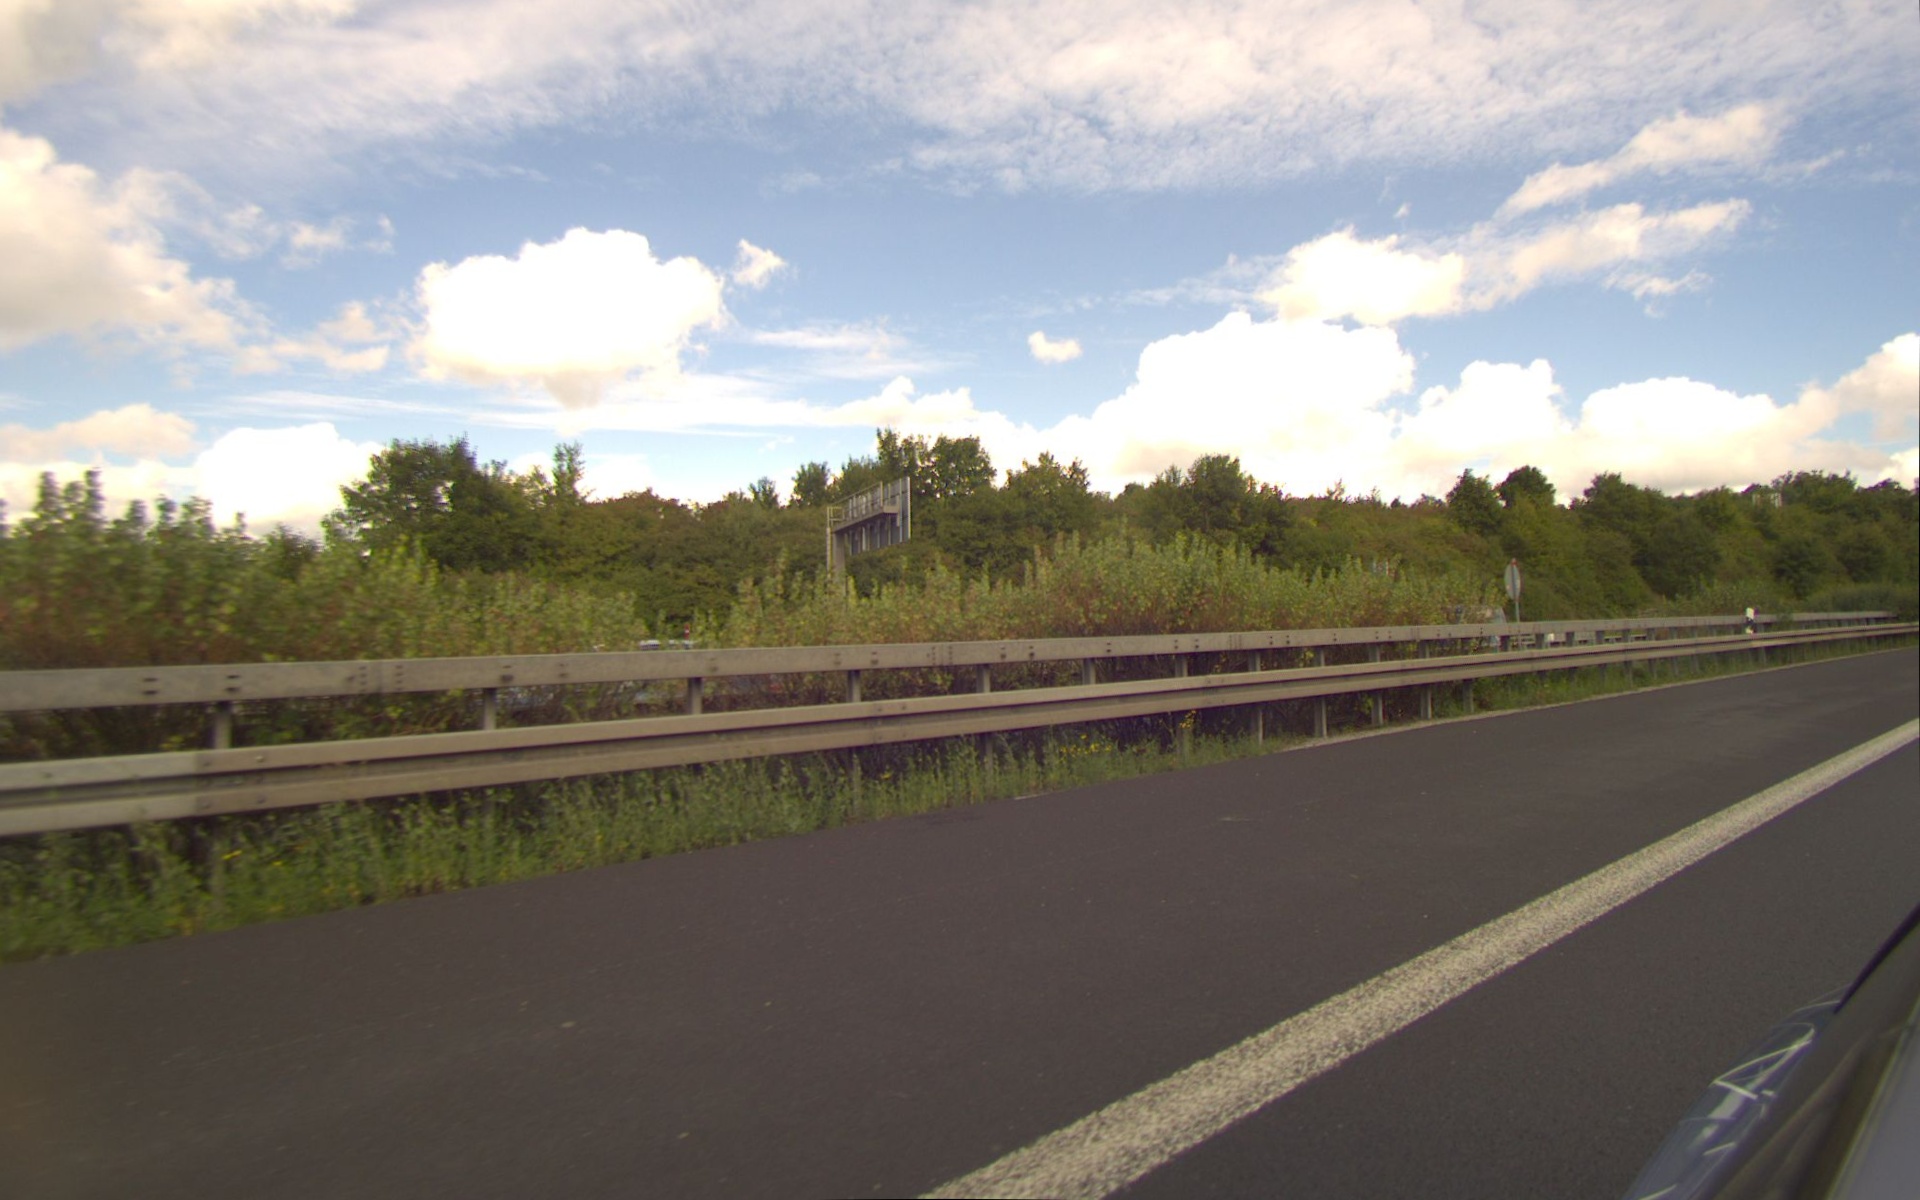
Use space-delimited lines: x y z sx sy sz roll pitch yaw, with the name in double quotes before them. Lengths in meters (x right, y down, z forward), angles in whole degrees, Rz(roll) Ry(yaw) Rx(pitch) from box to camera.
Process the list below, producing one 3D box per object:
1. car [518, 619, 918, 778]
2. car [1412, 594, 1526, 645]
"car" -2.899 1.067 12.714 4.591 1.538 1.788 -1 0 -38
"car" 16.940 0.605 33.619 4.266 1.591 1.788 0 0 -39
